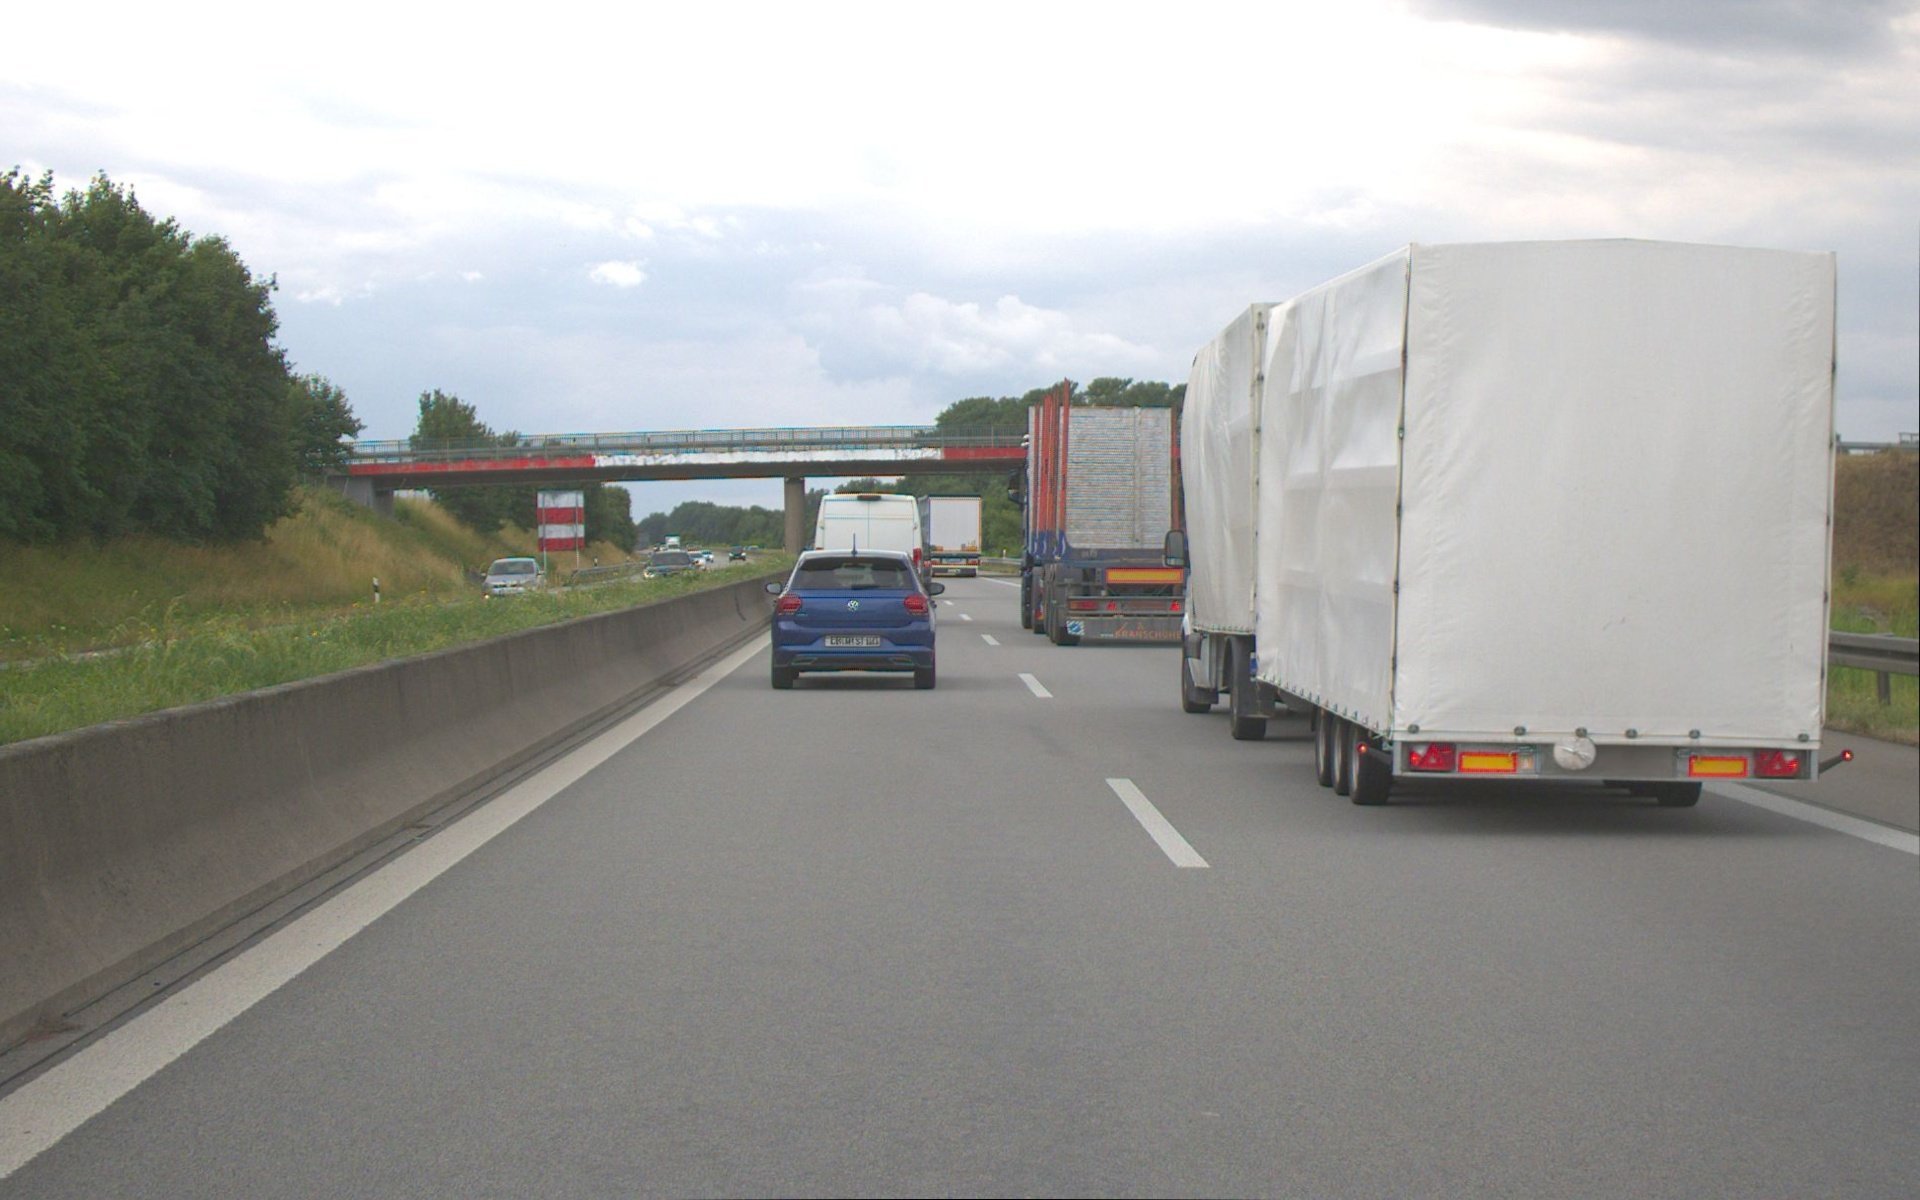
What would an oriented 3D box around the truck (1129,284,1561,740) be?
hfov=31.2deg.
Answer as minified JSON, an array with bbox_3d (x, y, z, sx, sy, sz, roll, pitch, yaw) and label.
[{"bbox_3d":[2.909,-0.689,28.007,2.429,3.232,7.248,0,1,-2],"label":"truck"}]

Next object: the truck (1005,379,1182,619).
[{"bbox_3d":[2.294,-1.786,60.860,2.673,4.031,5.513,-1,2,-2],"label":"truck"}]

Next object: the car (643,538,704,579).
[{"bbox_3d":[-10.381,-1.504,124.753,1.848,1.373,4.601,-3,1,-1],"label":"car"}]

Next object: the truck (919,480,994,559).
[{"bbox_3d":[-0.227,-3.918,169.191,3.110,3.677,9.324,-2,1,-3],"label":"truck"}]

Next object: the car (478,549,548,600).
[{"bbox_3d":[-13.237,-0.763,102.005,1.646,1.404,3.888,-3,1,-2],"label":"car"}]

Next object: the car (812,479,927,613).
[{"bbox_3d":[-1.744,-1.052,66.802,2.130,2.474,5.840,0,1,-1],"label":"car"}]

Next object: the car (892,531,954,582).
[{"bbox_3d":[-1.063,-1.253,97.428,1.663,1.402,3.649,0,1,-2],"label":"car"}]

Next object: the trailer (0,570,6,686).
[{"bbox_3d":[-11.728,-0.856,30.144,2.706,4.074,14.598,-2,2,-1],"label":"trailer"}]

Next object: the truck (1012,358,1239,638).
[{"bbox_3d":[2.495,-1.638,55.502,2.673,4.031,11.109,-1,2,-2],"label":"truck"}]

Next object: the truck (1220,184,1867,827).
[{"bbox_3d":[3.196,-0.537,20.798,2.415,3.211,7.144,0,1,-2],"label":"truck"}]

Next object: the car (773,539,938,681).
[{"bbox_3d":[-1.119,0.072,36.517,1.663,1.402,3.649,0,1,-2],"label":"car"}]
